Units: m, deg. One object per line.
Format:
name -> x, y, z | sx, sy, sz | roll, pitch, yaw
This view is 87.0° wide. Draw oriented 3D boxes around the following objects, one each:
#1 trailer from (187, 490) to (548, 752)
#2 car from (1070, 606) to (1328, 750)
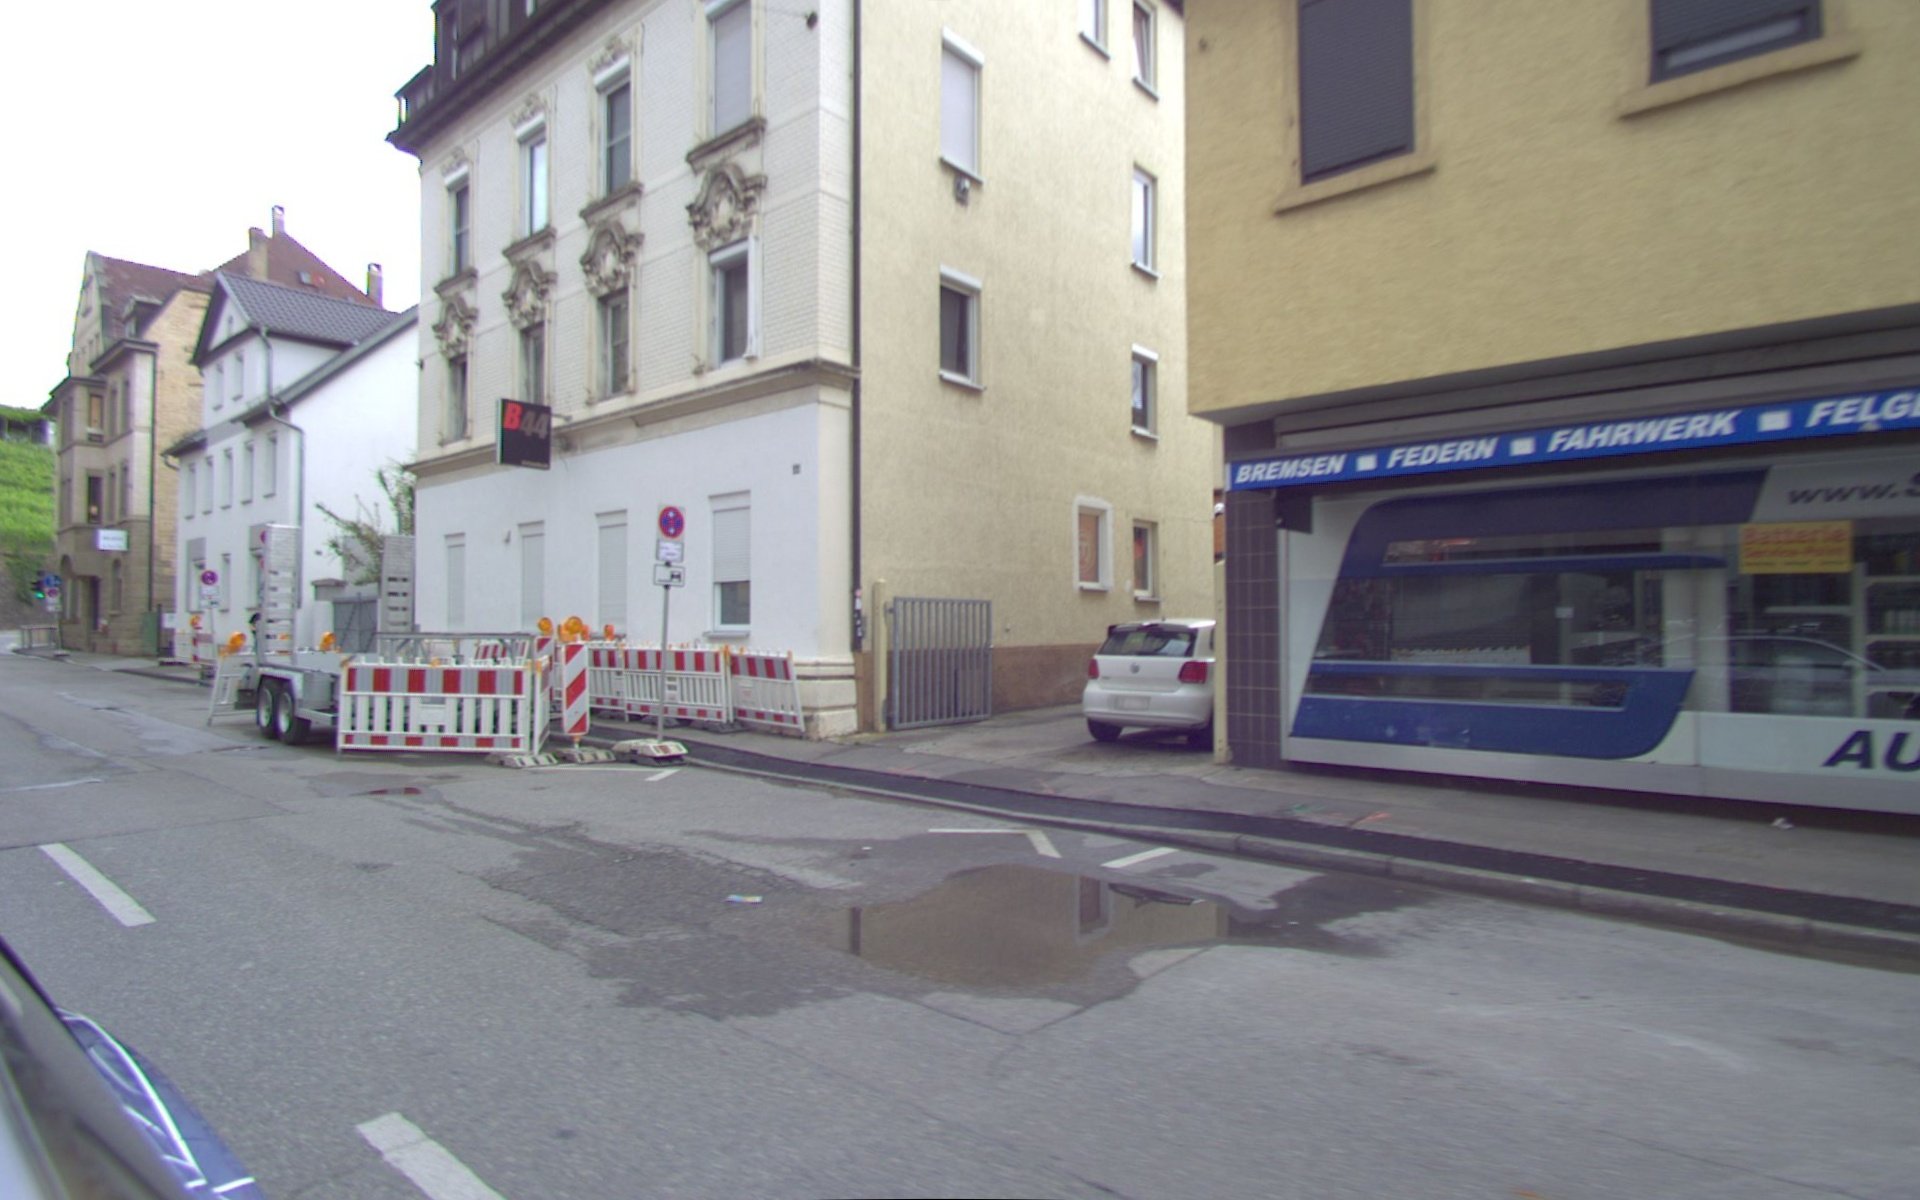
trailer -> -8.339, 0.293, 13.899 | 6.301, 2.825, 2.419 | -1, -3, 42
car -> 3.115, 0.844, 12.638 | 1.723, 1.497, 3.950 | -1, -1, 37
